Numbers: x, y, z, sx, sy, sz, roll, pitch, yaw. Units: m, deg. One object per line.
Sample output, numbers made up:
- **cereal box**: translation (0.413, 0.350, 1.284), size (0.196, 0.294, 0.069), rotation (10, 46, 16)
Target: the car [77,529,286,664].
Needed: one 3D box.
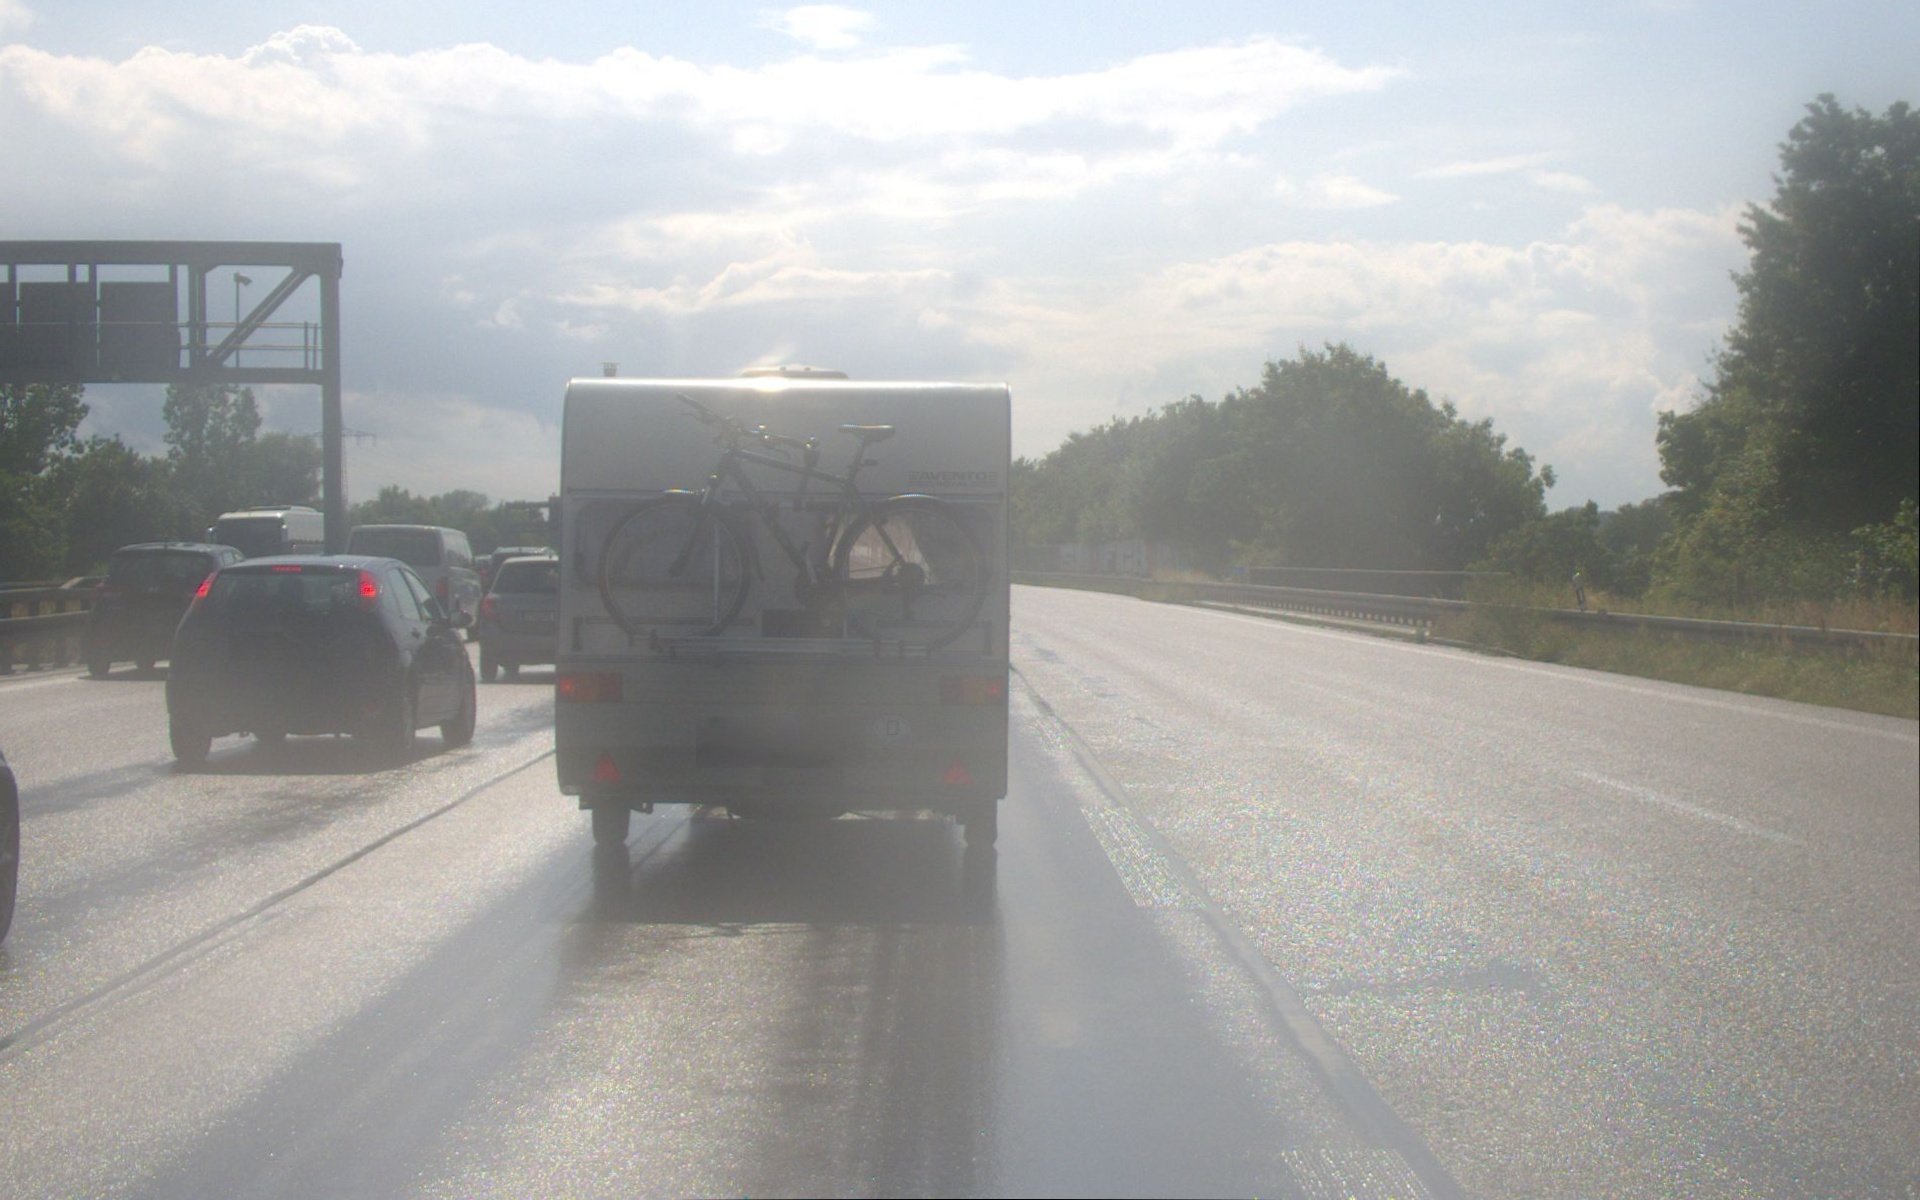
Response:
- **car**: translation (-9.540, -0.070, 42.402), size (1.783, 1.573, 3.916), rotation (0, 1, -2)

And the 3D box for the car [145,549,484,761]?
- **car**: translation (-4.731, 0.351, 25.719), size (1.758, 1.438, 4.000), rotation (0, 1, 0)

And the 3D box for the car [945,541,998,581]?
- **car**: translation (0.457, -1.565, 138.900), size (1.835, 1.552, 4.001), rotation (1, 1, -4)

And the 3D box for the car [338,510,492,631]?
- **car**: translation (-9.102, -0.523, 57.773), size (1.848, 1.927, 5.016), rotation (0, 1, -1)

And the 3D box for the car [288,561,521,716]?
- **car**: translation (-5.726, 0.360, 35.839), size (1.863, 1.503, 4.000), rotation (0, 1, -1)

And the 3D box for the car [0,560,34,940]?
- **car**: translation (-4.474, 0.585, 11.359), size (1.750, 1.428, 4.054), rotation (0, 1, 0)

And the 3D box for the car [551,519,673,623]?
- **car**: translation (-5.744, -0.492, 57.117), size (1.689, 1.656, 3.641), rotation (0, 1, -1)

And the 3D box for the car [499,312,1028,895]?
- **car**: translation (-0.899, -0.004, 17.900), size (2.410, 2.665, 4.000), rotation (1, 1, 0)

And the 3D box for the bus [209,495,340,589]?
- **bus**: translation (-25.333, -2.142, 127.568), size (2.939, 3.275, 12.213), rotation (0, 1, -3)

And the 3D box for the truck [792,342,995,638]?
- **truck**: translation (-1.175, -1.794, 59.229), size (3.146, 4.610, 10.736), rotation (0, 1, -1)

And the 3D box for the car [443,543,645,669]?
- **car**: translation (-5.058, 0.042, 42.230), size (1.987, 1.453, 3.826), rotation (1, 1, 0)

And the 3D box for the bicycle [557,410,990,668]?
- **bicycle**: translation (-0.841, -0.277, 15.699), size (1.934, 1.137, 0.384), rotation (1, 0, 1)
